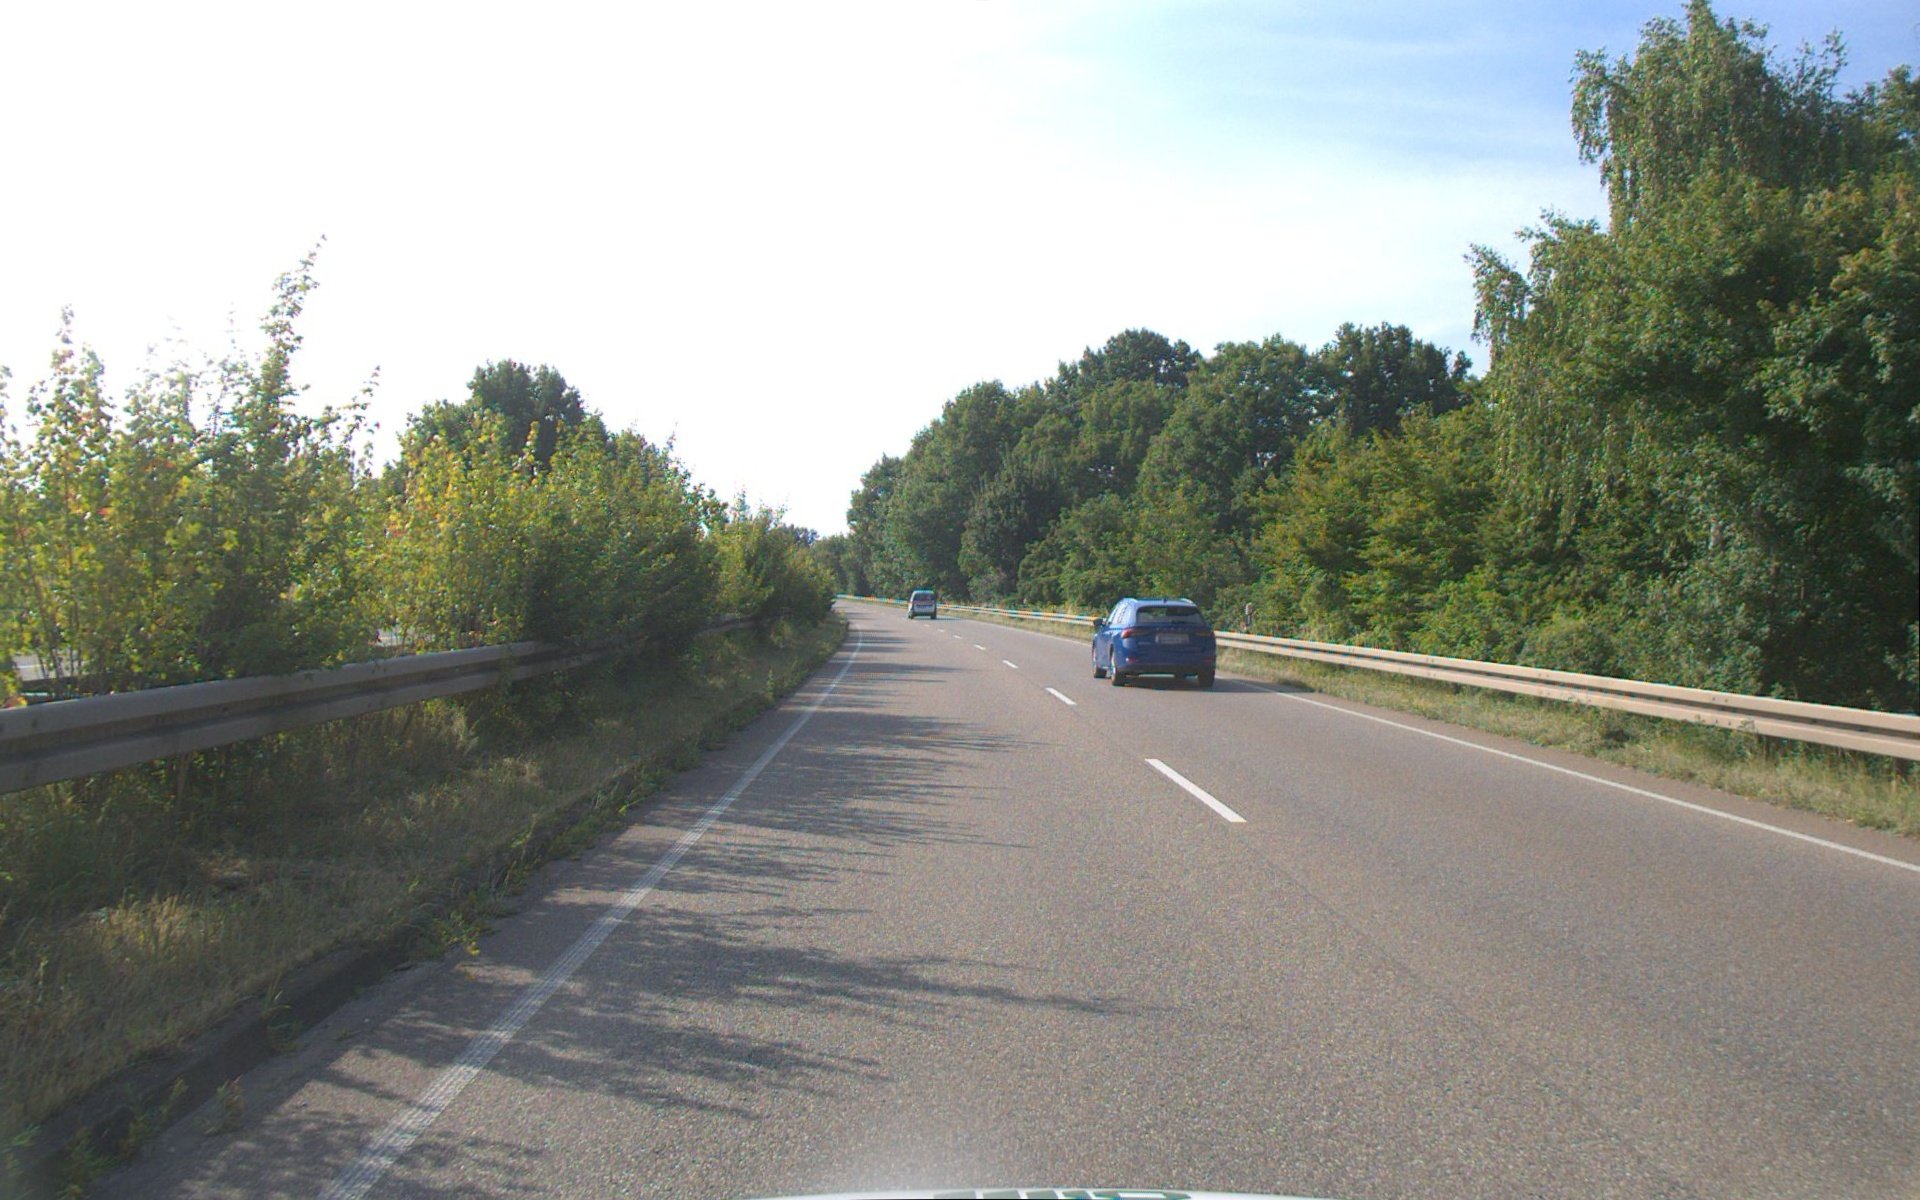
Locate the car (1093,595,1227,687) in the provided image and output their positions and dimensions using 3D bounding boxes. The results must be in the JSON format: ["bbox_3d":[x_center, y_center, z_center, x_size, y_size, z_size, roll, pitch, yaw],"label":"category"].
[{"bbox_3d":[3.412,0.660,28.920,1.743,1.477,3.999,1,0,-2],"label":"car"}]

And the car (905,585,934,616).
[{"bbox_3d":[-2.640,0.008,107.670,1.731,1.914,3.997,1,1,-4],"label":"car"}]
